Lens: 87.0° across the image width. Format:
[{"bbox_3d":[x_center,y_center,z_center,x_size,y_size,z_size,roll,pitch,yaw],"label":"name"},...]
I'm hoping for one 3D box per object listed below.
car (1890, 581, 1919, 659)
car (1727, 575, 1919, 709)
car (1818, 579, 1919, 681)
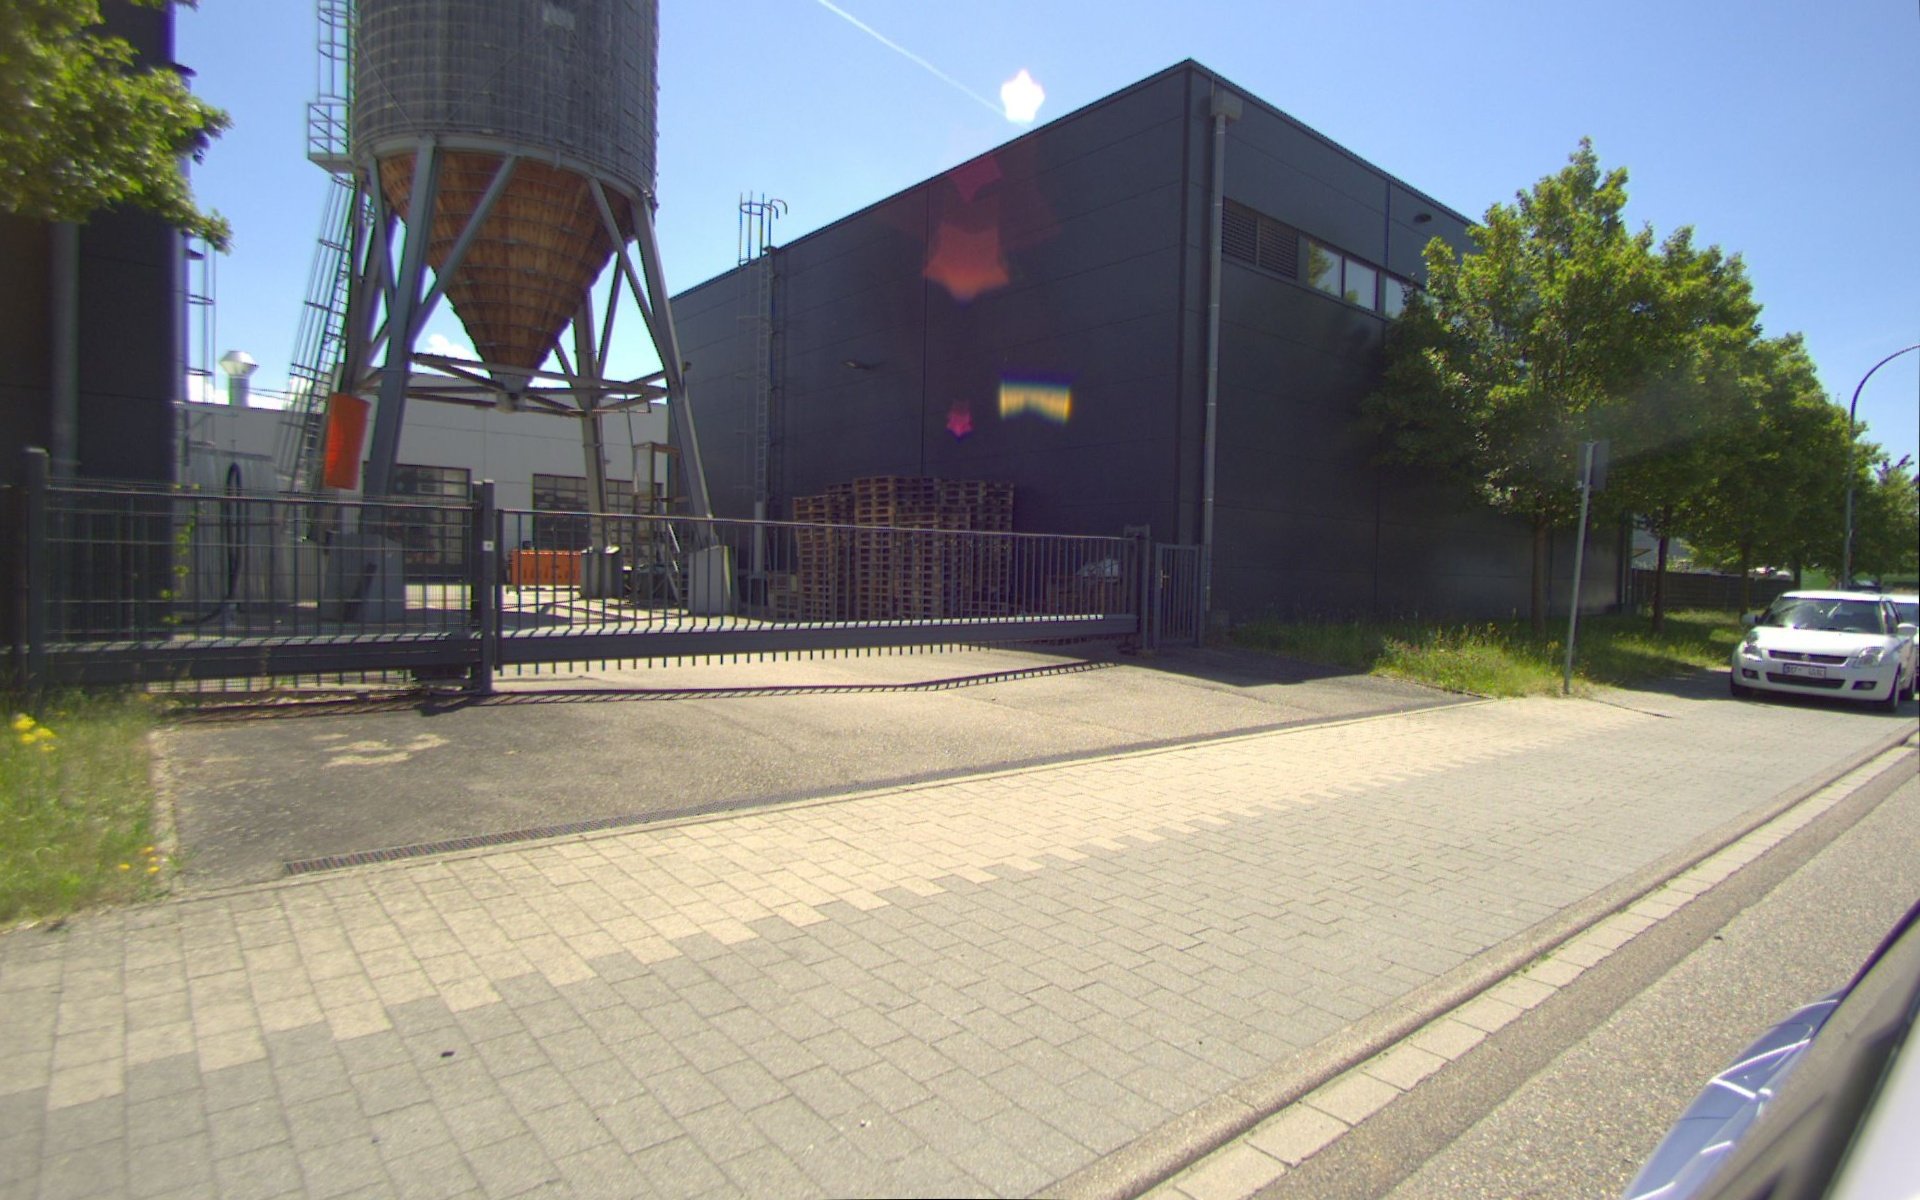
[{"bbox_3d":[20.874,0.417,21.118,3.681,1.528,1.735,0,3,-41],"label":"car"},{"bbox_3d":[12.081,0.471,13.887,3.602,1.528,1.736,0,4,-41],"label":"car"},{"bbox_3d":[15.894,0.450,16.965,3.778,1.528,1.735,0,3,-41],"label":"car"}]
